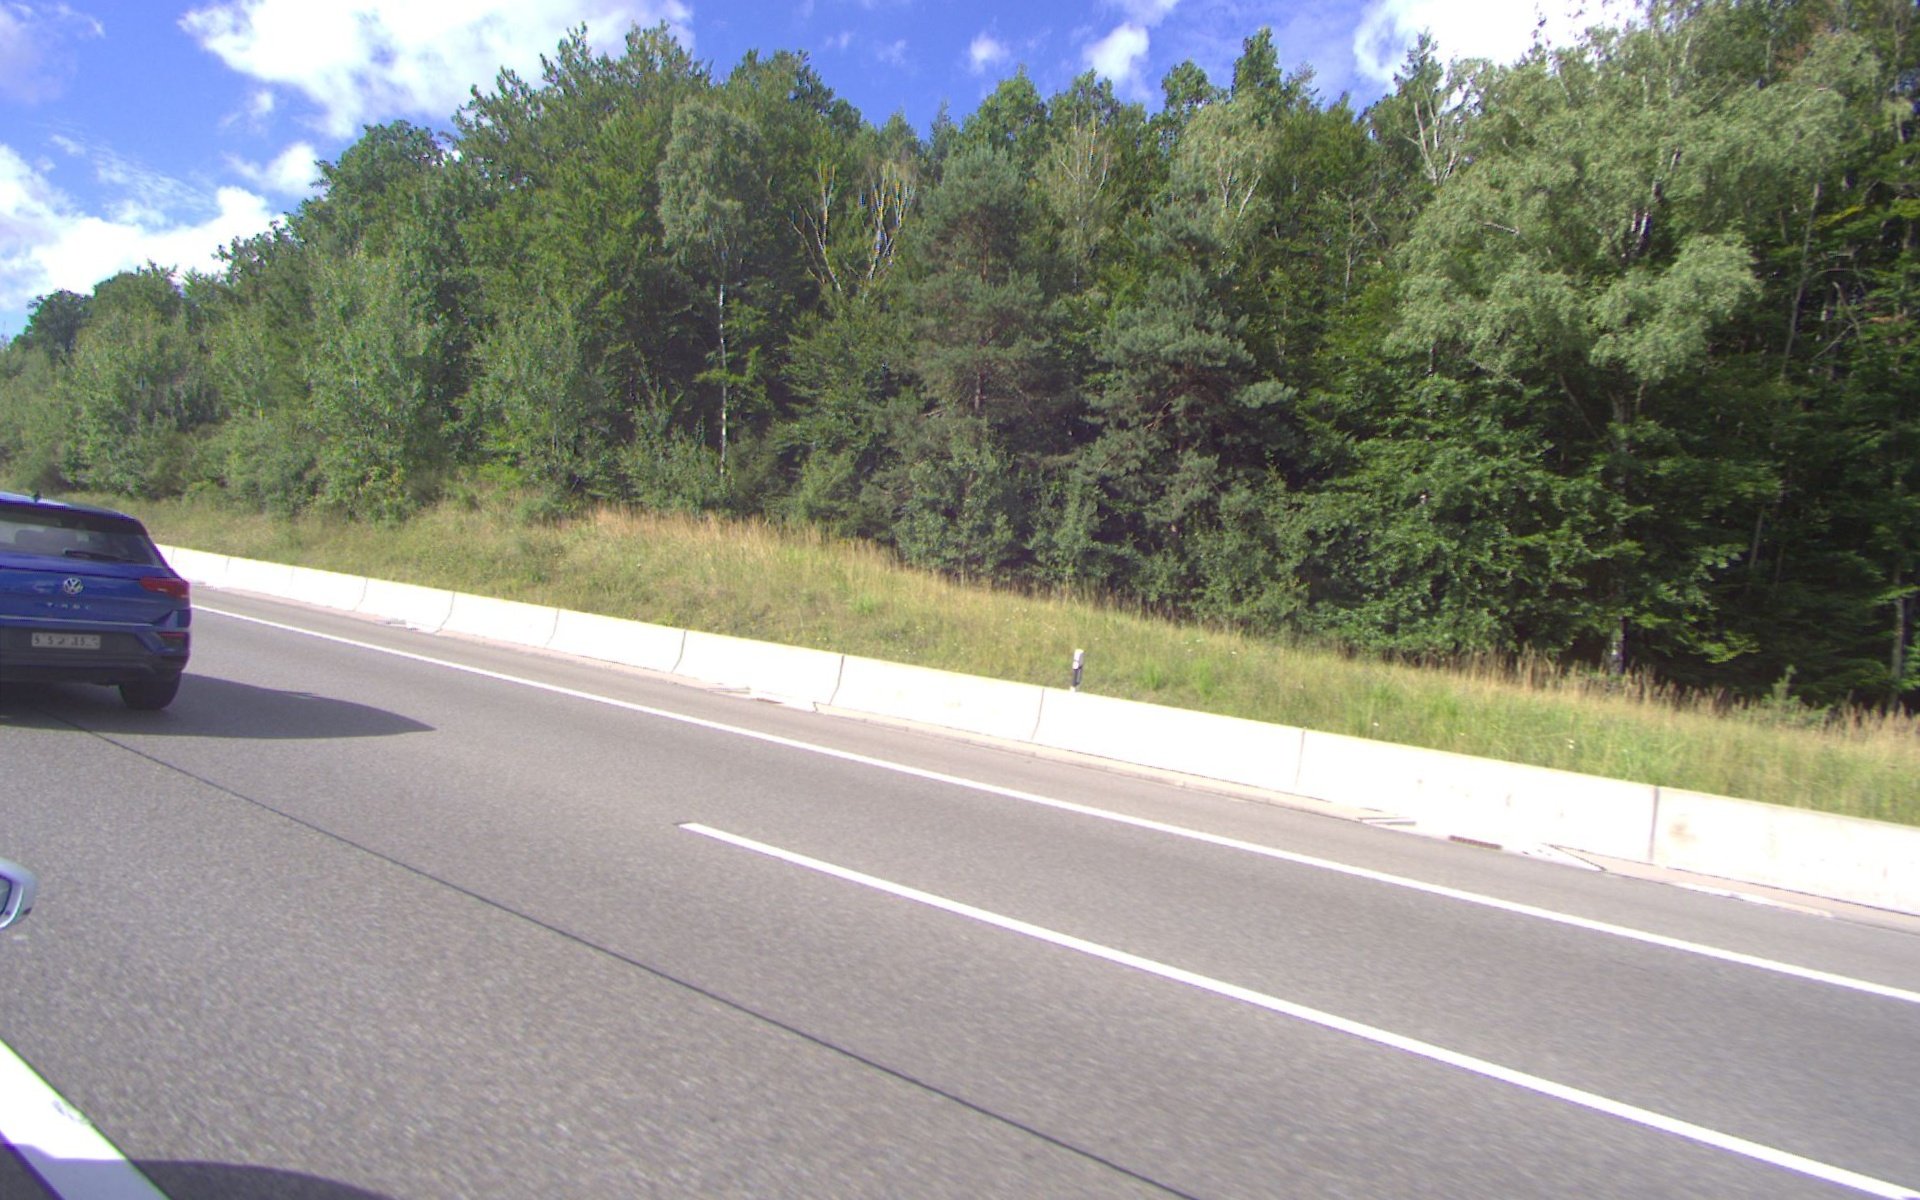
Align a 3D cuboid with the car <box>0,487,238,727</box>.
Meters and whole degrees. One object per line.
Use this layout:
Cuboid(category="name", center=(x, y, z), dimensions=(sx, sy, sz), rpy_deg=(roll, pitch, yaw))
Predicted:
Cuboid(category="car", center=(-7.851, -0.125, 7.982), dimensions=(4.383, 1.548, 1.776), rpy_deg=(7, -1, 32))
